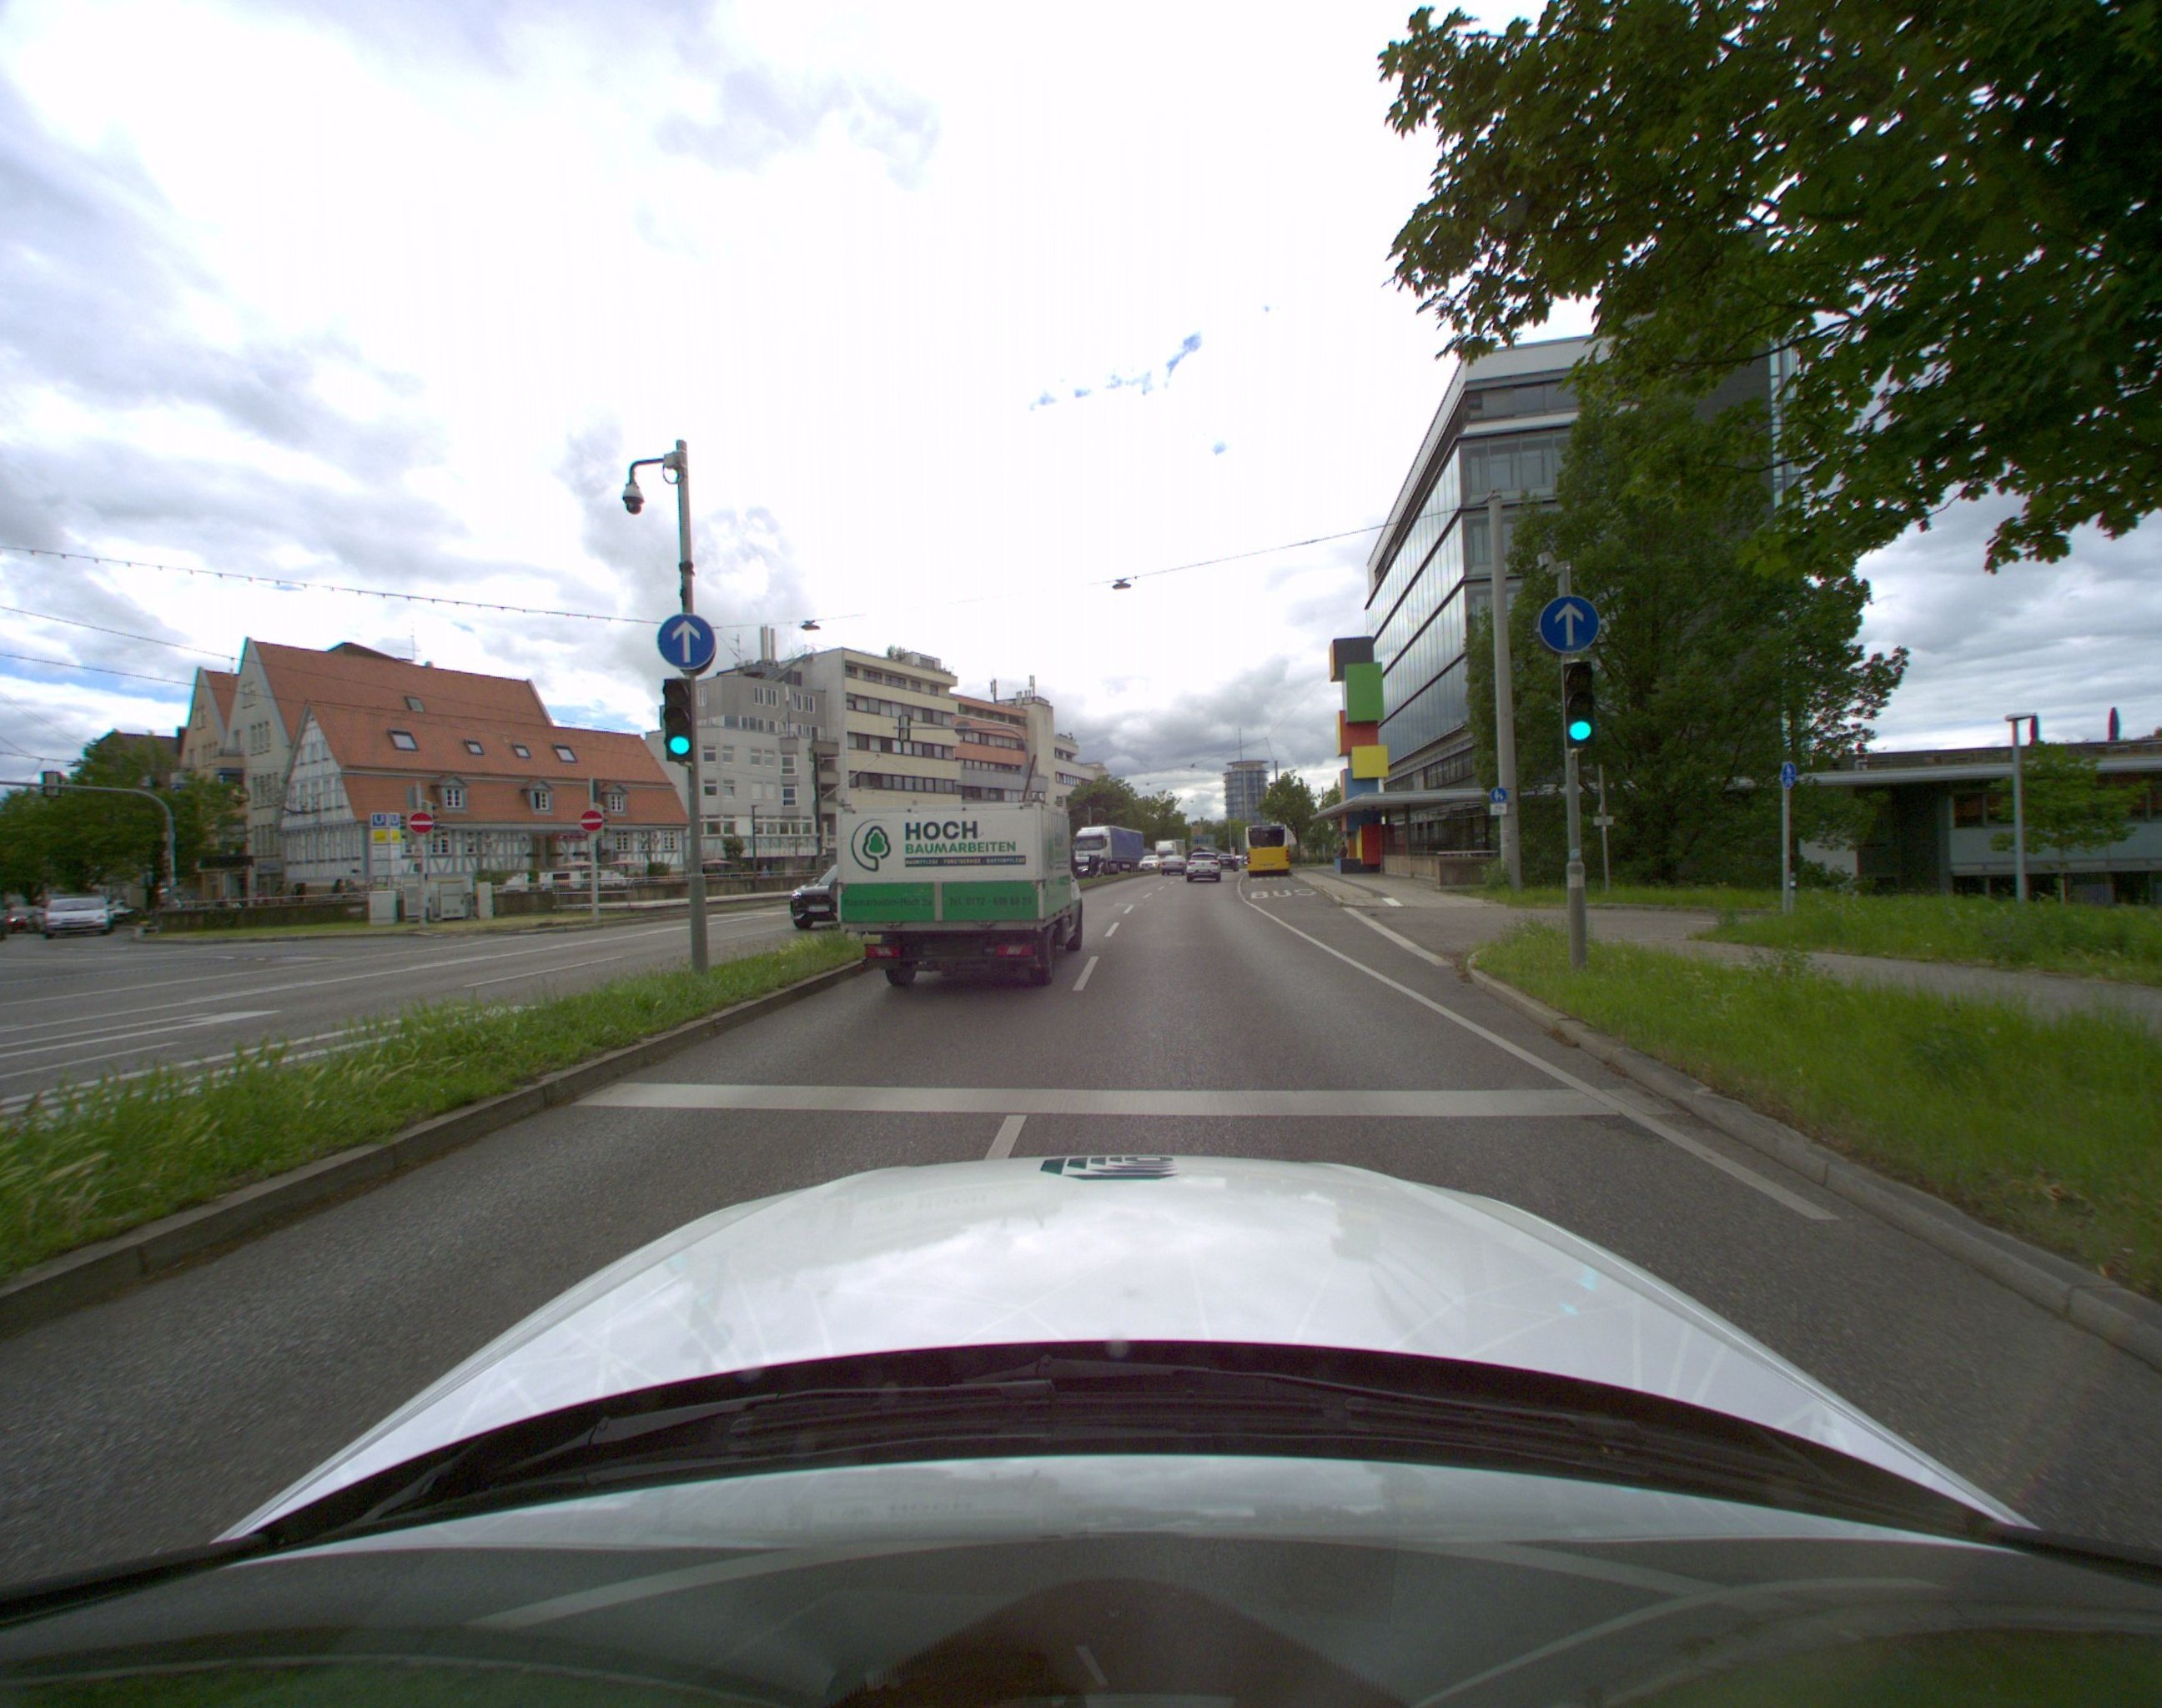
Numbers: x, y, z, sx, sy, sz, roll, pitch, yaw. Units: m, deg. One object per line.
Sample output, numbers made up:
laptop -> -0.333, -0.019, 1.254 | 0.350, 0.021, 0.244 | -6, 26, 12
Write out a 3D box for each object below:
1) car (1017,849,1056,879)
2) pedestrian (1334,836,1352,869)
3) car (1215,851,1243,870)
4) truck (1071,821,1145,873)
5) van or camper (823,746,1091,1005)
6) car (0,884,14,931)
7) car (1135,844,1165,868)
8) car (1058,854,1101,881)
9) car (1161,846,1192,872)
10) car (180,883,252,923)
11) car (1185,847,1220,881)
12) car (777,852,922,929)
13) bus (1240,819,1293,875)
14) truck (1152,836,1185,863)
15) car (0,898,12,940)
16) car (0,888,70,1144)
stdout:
car -> -2.769, 0.618, 51.690 | 1.555, 1.753, 3.852 | -2, 0, 10
pedestrian -> 14.519, -0.086, 45.161 | 0.706, 1.816, 0.765 | -2, 0, 3
car -> 13.022, 0.570, 71.522 | 1.685, 1.515, 3.513 | -1, 2, 22
truck -> 2.728, -0.655, 72.551 | 2.932, 4.079, 16.667 | -1, 0, 14
van or camper -> -1.256, 0.160, 11.407 | 2.332, 2.661, 5.974 | 0, 1, 5
car -> -51.328, 2.531, 37.593 | 4.350, 2.062, 2.261 | 0, 2, 39
car -> 6.198, 0.171, 72.388 | 1.980, 2.013, 5.213 | -2, 0, 12
car -> -0.034, 0.799, 48.121 | 1.688, 1.516, 3.506 | -1, -1, 14
car -> 6.810, 0.314, 57.785 | 1.688, 1.515, 3.751 | -1, 4, 14
car -> -40.467, 2.257, 38.071 | 3.948, 1.684, 2.013 | -2, 0, 39
car -> 6.654, 0.504, 44.384 | 1.689, 1.547, 3.748 | 2, 3, 10
car -> -5.442, 0.819, 19.812 | 1.888, 1.618, 4.282 | -2, -1, 6
bus -> 12.197, -0.465, 53.372 | 2.933, 3.190, 9.965 | -3, 0, 13
truck -> 10.881, -0.548, 100.523 | 3.063, 3.028, 9.389 | -2, 0, 12
car -> -43.510, 2.644, 31.591 | 1.863, 1.584, 3.563 | -3, 2, -43
car -> -7.093, 0.938, 3.169 | 1.606, 1.446, 3.657 | -2, -1, 5
